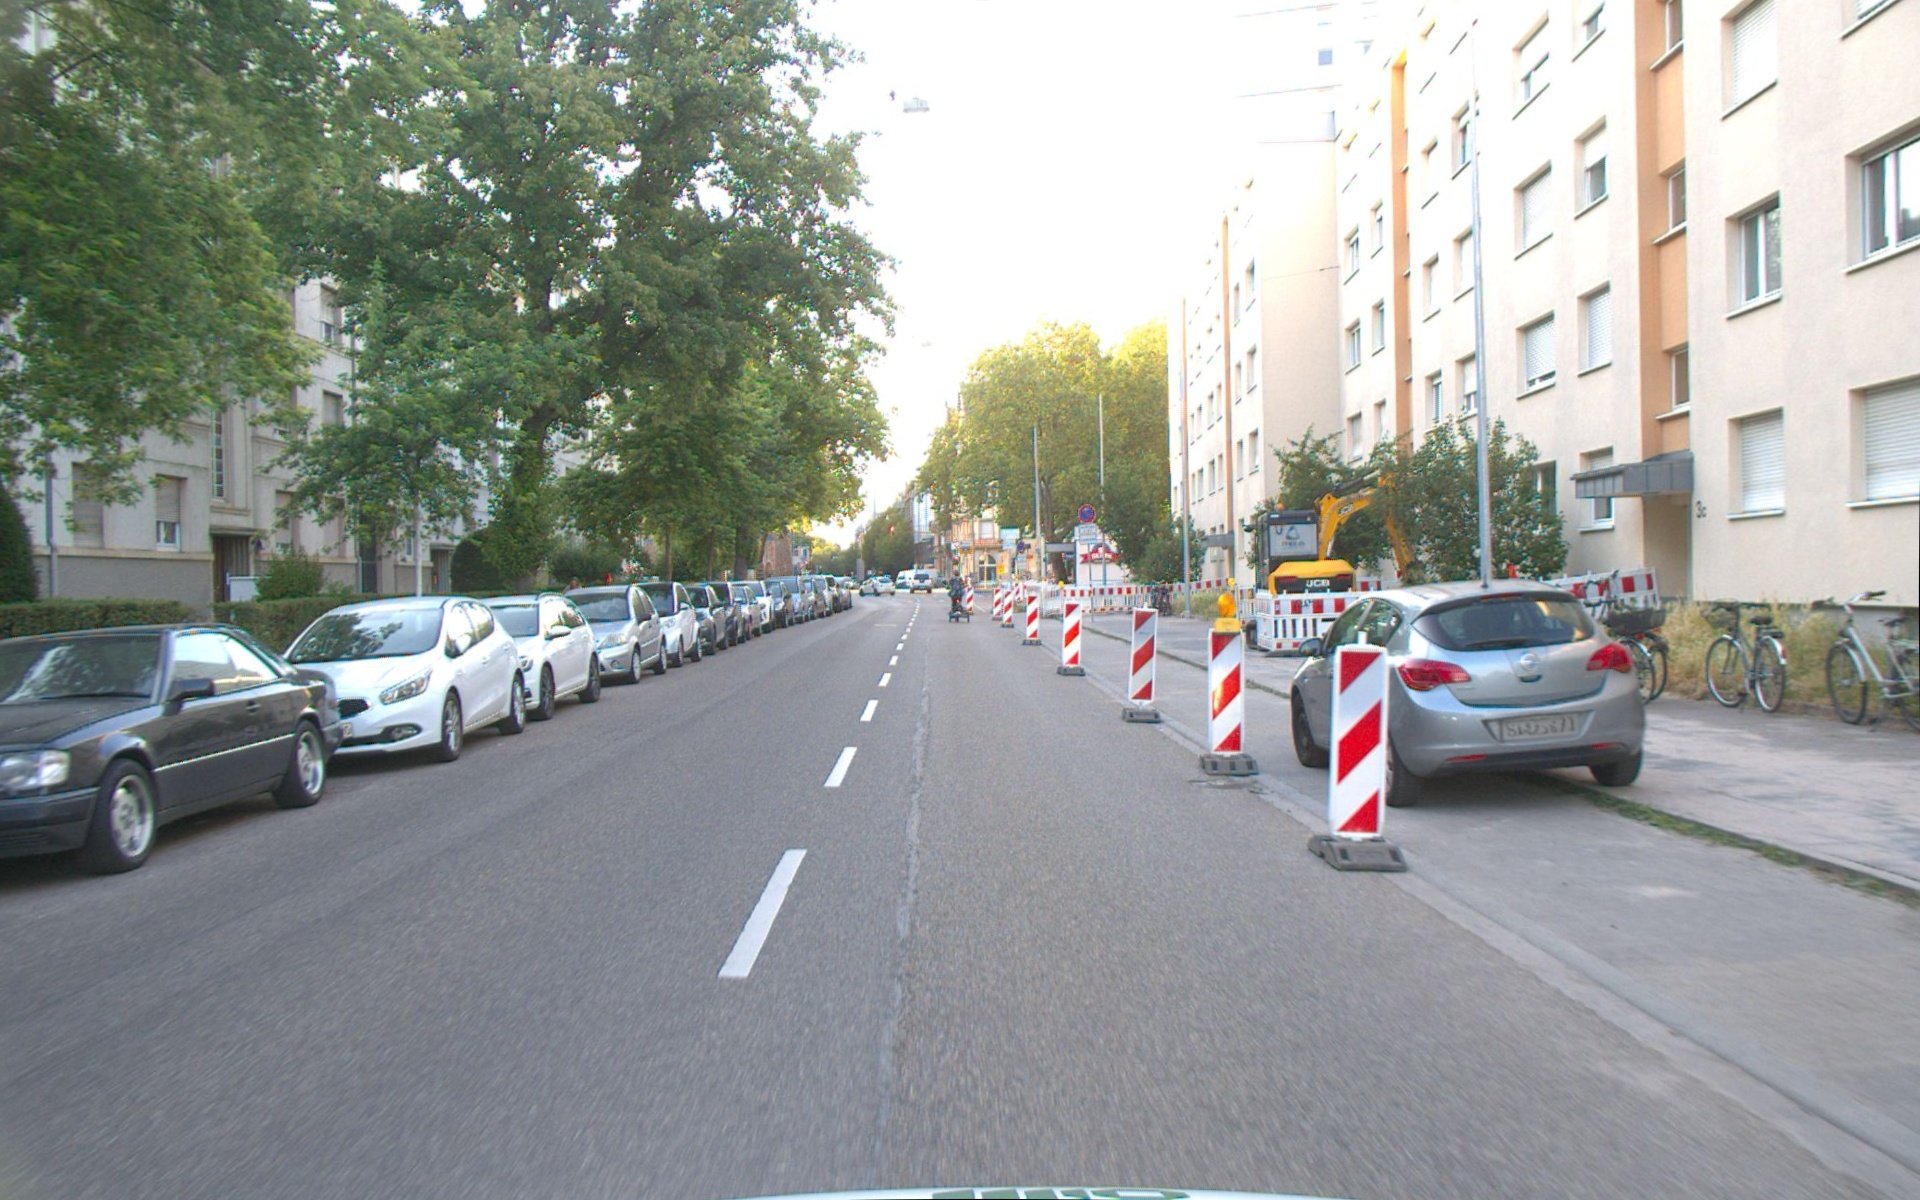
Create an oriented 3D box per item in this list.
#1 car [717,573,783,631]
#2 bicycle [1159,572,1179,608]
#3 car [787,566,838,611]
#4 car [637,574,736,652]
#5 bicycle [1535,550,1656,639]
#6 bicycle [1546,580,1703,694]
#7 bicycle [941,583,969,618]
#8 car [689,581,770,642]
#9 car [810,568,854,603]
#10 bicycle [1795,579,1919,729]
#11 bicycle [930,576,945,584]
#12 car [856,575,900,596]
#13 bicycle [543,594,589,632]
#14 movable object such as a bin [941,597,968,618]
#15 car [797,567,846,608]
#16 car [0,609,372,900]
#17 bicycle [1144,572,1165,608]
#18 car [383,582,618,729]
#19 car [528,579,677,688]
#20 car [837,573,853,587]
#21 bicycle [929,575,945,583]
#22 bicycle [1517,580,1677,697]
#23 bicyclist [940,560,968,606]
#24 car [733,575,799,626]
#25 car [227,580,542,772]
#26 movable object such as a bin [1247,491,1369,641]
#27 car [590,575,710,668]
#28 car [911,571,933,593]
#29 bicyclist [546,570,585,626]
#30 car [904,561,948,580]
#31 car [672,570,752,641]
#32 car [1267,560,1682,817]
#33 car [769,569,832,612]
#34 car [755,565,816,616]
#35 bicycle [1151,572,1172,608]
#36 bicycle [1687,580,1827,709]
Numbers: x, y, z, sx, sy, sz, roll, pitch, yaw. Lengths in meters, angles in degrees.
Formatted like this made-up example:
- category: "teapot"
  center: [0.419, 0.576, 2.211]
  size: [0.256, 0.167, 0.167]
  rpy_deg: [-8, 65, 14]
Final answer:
- category: "car"
  center: [-6.266, 0.026, 49.632]
  size: [1.559, 1.565, 4.204]
  rpy_deg: [-4, 1, -3]
- category: "bicycle"
  center: [7.409, -0.353, 58.745]
  size: [0.390, 1.243, 1.825]
  rpy_deg: [-1, 1, -3]
- category: "car"
  center: [-6.096, -0.511, 68.712]
  size: [1.810, 1.720, 4.857]
  rpy_deg: [-3, 1, -3]
- category: "car"
  center: [-5.858, 0.238, 35.811]
  size: [1.558, 1.491, 4.100]
  rpy_deg: [-4, 1, -3]
- category: "bicycle"
  center: [8.994, -0.084, 23.436]
  size: [1.562, 1.243, 0.484]
  rpy_deg: [-1, 1, -8]
- category: "bicycle"
  center: [7.313, 0.379, 18.294]
  size: [0.616, 1.192, 1.808]
  rpy_deg: [-1, 1, -17]
- category: "bicycle"
  center: [-0.188, -0.002, 60.707]
  size: [0.920, 1.192, 2.359]
  rpy_deg: [-3, 0, 1]
- category: "car"
  center: [-6.118, 0.269, 44.228]
  size: [1.558, 1.428, 4.180]
  rpy_deg: [-4, 1, -1]
- category: "car"
  center: [-6.447, -0.736, 83.798]
  size: [1.914, 1.645, 4.604]
  rpy_deg: [-3, 1, -1]
- category: "bicycle"
  center: [7.890, 0.425, 14.230]
  size: [0.544, 1.192, 1.817]
  rpy_deg: [0, 1, 2]
- category: "bicycle"
  center: [-2.806, -2.497, 203.938]
  size: [1.876, 0.985, 0.545]
  rpy_deg: [-1, 1, -3]
- category: "car"
  center: [-6.611, -1.158, 133.283]
  size: [1.848, 1.613, 3.956]
  rpy_deg: [-2, 1, -32]
- category: "bicycle"
  center: [-10.240, 0.331, 43.055]
  size: [0.792, 0.927, 1.762]
  rpy_deg: [0, 1, -1]
- category: "movable object such as a bin"
  center: [-0.193, 0.259, 59.027]
  size: [0.920, 0.701, 0.993]
  rpy_deg: [-3, 0, 0]
- category: "car"
  center: [-6.324, -0.599, 75.961]
  size: [1.914, 1.748, 4.770]
  rpy_deg: [-3, 1, -2]
- category: "car"
  center: [-5.388, 0.837, 10.604]
  size: [1.641, 1.354, 4.578]
  rpy_deg: [-4, 1, -2]
- category: "bicycle"
  center: [6.894, -0.356, 58.710]
  size: [0.442, 1.243, 1.910]
  rpy_deg: [-1, 1, -3]
- category: "car"
  center: [-5.529, 0.591, 20.477]
  size: [1.658, 1.485, 4.482]
  rpy_deg: [-4, 1, -1]
- category: "car"
  center: [-5.703, 0.477, 26.776]
  size: [1.558, 1.531, 3.798]
  rpy_deg: [-4, 1, -1]
- category: "car"
  center: [-14.950, -2.591, 214.385]
  size: [1.748, 1.680, 3.814]
  rpy_deg: [1, 1, -9]
- category: "bicycle"
  center: [-2.833, -2.612, 203.763]
  size: [1.876, 0.985, 0.545]
  rpy_deg: [-1, 1, -3]
- category: "bicycle"
  center: [6.814, 0.379, 17.781]
  size: [0.548, 1.192, 1.806]
  rpy_deg: [-1, 1, -20]
- category: "bicyclist"
  center: [-0.226, -0.632, 60.723]
  size: [0.920, 1.609, 1.146]
  rpy_deg: [-3, 0, 1]
- category: "car"
  center: [-6.296, -0.016, 54.027]
  size: [1.673, 1.477, 3.843]
  rpy_deg: [-4, 1, -1]
- category: "car"
  center: [-5.334, 0.608, 15.911]
  size: [1.659, 1.485, 4.143]
  rpy_deg: [-4, 1, -3]
- category: "movable object such as a bin"
  center: [6.668, -0.656, 31.948]
  size: [1.893, 2.740, 2.893]
  rpy_deg: [-1, 1, 3]
- category: "car"
  center: [-5.778, 0.364, 31.094]
  size: [1.557, 1.555, 2.922]
  rpy_deg: [-4, 1, 1]
- category: "car"
  center: [-3.392, -1.637, 147.833]
  size: [1.829, 1.846, 3.998]
  rpy_deg: [-2, 1, -2]
- category: "bicyclist"
  center: [-10.280, -0.065, 43.095]
  size: [0.792, 1.428, 0.973]
  rpy_deg: [0, 1, -1]
- category: "car"
  center: [-4.353, -3.767, 210.128]
  size: [5.780, 2.327, 2.039]
  rpy_deg: [-2, 1, -45]
- category: "car"
  center: [-5.963, 0.100, 40.082]
  size: [1.493, 1.555, 3.163]
  rpy_deg: [-4, 1, -2]
- category: "car"
  center: [3.749, 0.540, 12.970]
  size: [1.740, 1.516, 4.573]
  rpy_deg: [-5, 1, 0]
- category: "car"
  center: [-6.051, -0.397, 63.252]
  size: [1.696, 1.523, 4.272]
  rpy_deg: [-3, 1, 3]
- category: "car"
  center: [-6.129, -0.341, 58.445]
  size: [1.673, 1.628, 4.116]
  rpy_deg: [-4, 1, -1]
- category: "bicycle"
  center: [7.162, -0.355, 58.807]
  size: [0.390, 1.243, 1.910]
  rpy_deg: [-1, 1, -3]
- category: "bicycle"
  center: [7.807, 0.404, 16.277]
  size: [0.544, 1.192, 1.817]
  rpy_deg: [0, 1, 2]
